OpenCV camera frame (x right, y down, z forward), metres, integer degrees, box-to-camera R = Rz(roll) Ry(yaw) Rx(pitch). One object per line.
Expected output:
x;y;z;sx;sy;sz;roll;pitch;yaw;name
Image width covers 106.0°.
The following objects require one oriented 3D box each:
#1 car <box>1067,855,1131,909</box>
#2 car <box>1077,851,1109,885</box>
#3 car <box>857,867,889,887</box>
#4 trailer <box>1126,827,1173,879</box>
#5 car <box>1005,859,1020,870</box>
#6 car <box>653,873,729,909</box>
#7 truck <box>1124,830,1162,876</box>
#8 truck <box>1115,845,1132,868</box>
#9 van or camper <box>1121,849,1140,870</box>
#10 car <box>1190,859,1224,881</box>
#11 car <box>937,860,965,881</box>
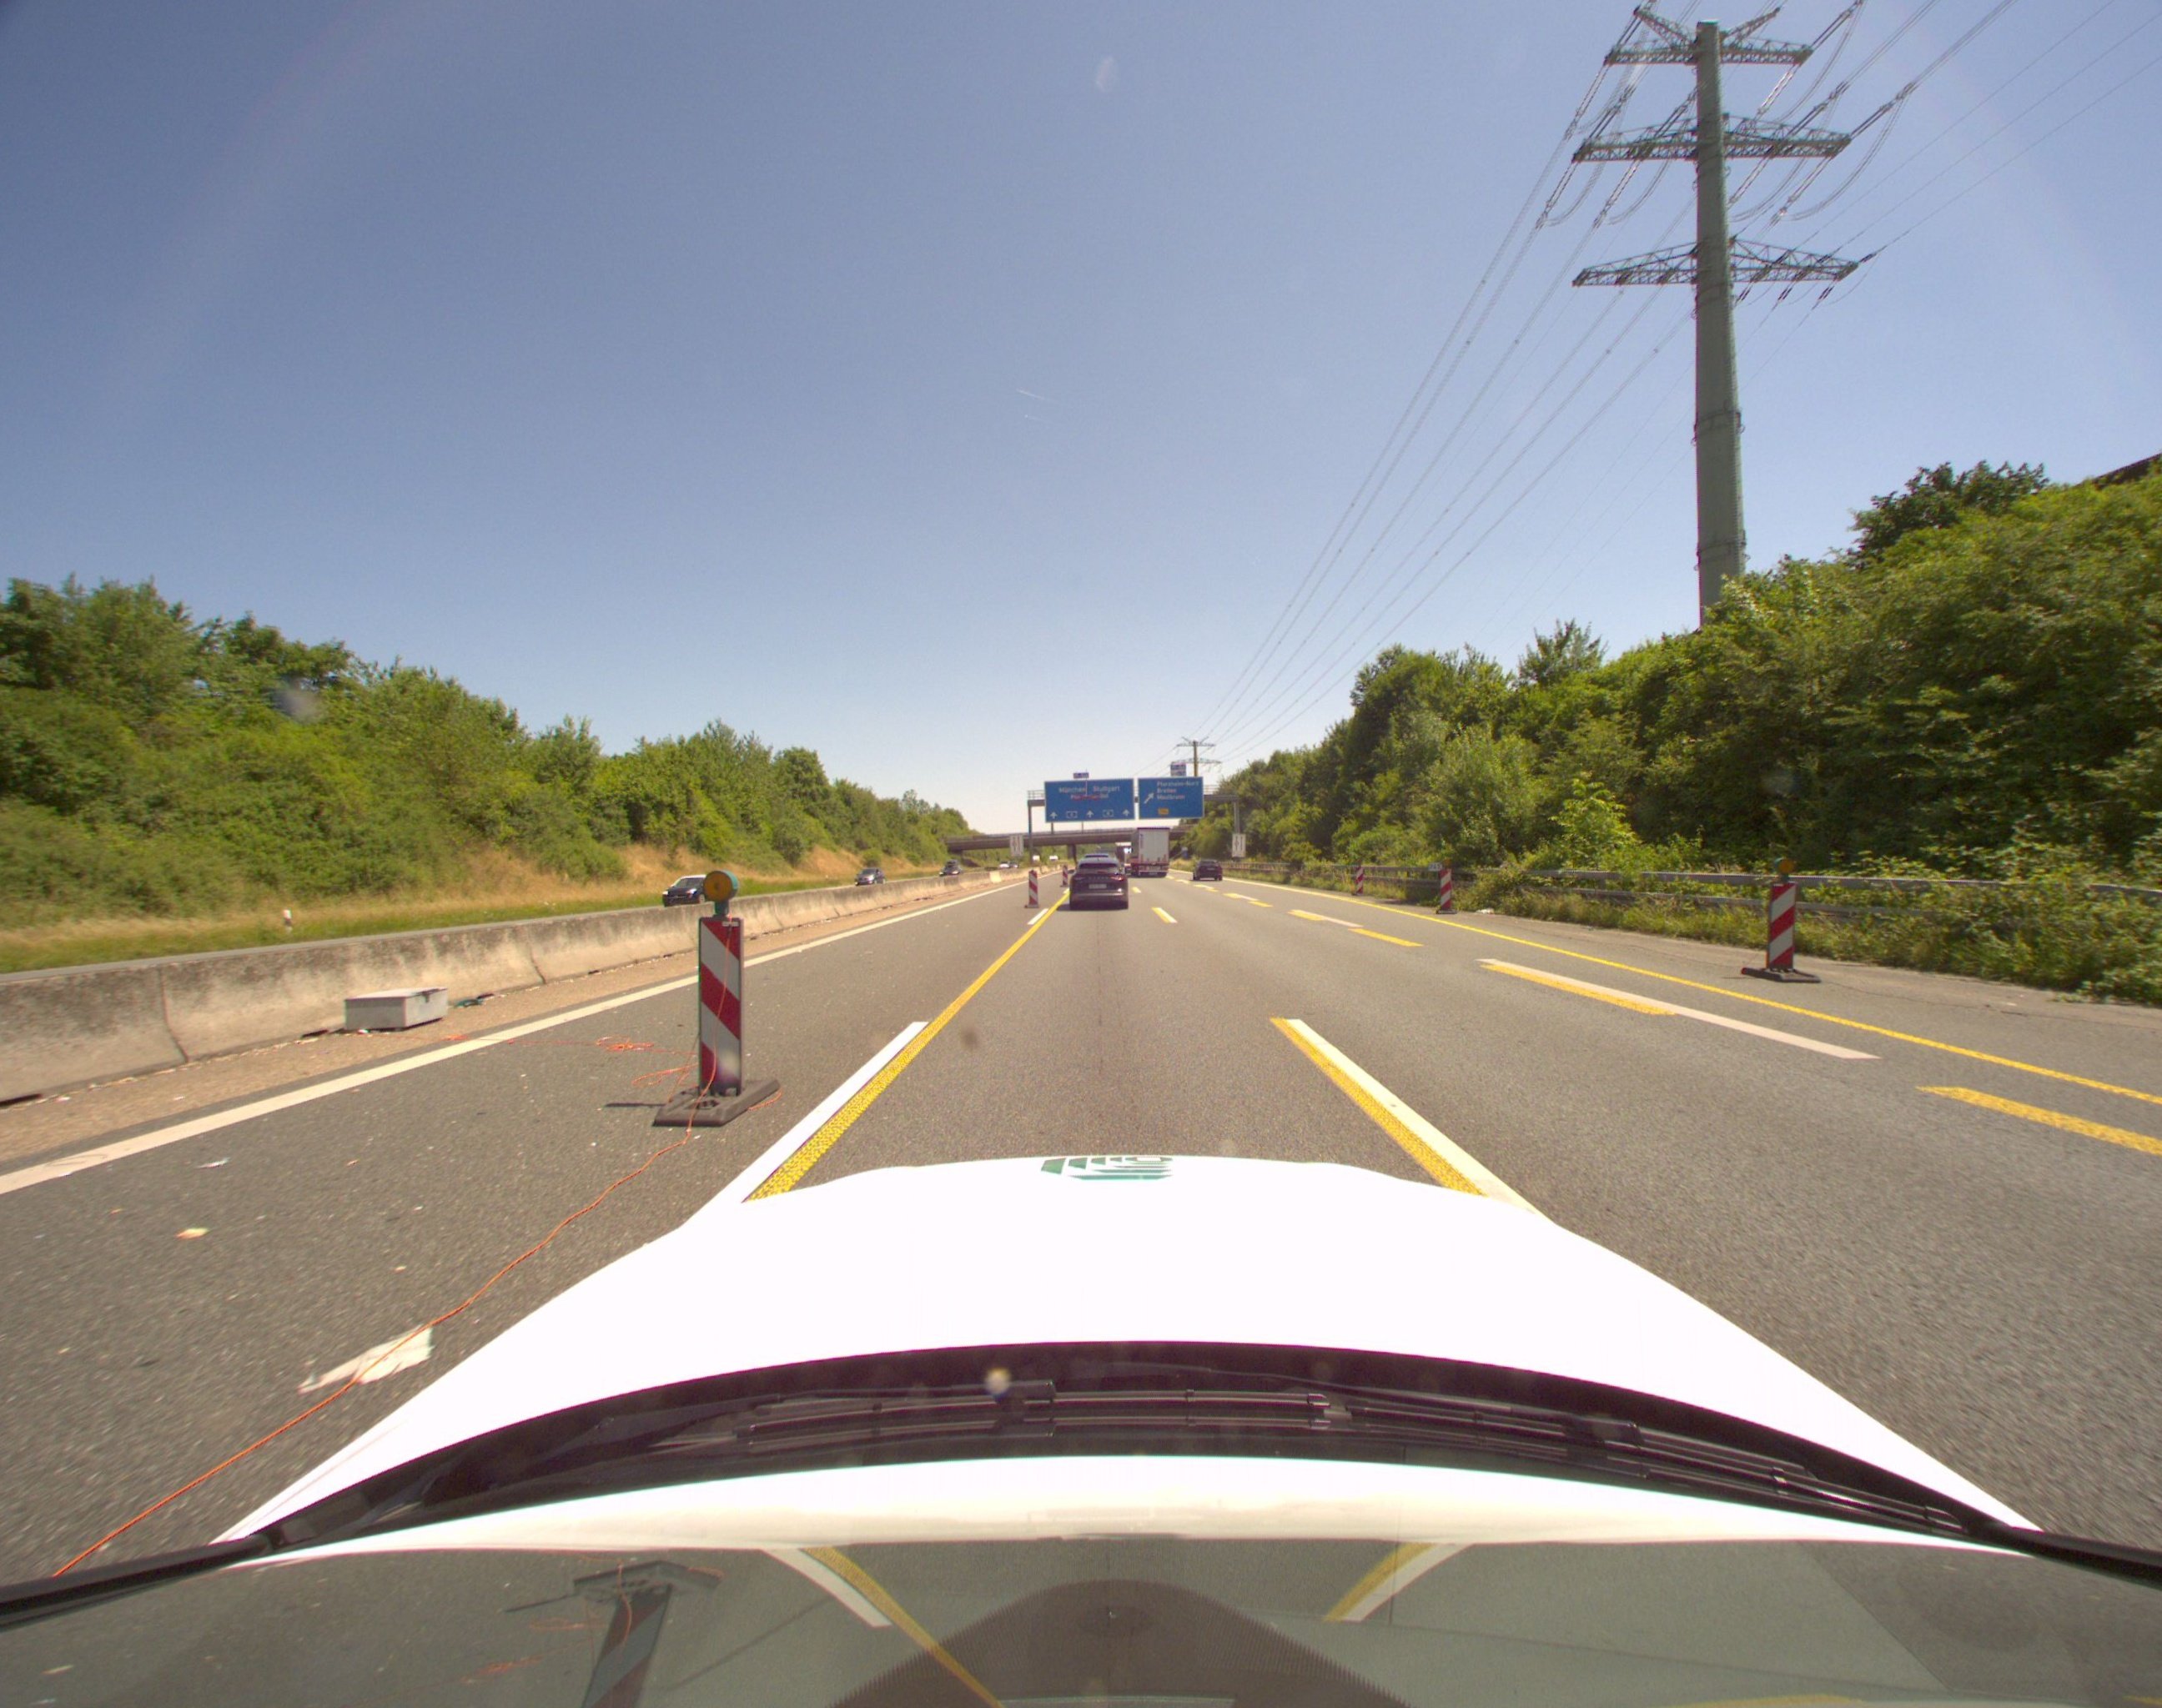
0.549;0.835;26.453;1.889;1.592;4.442;0;0;0;car
0.771;0.846;51.587;1.889;1.841;4.444;2;2;1;car
-17.390;1.902;68.155;1.494;1.548;4.002;-2;0;2;car
5.711;-0.057;70.214;3.055;4.042;11.485;-1;0;0;trailer
-11.598;1.794;138.048;1.906;1.753;4.566;0;0;1;car
-18.179;1.698;38.122;1.568;1.464;3.780;-2;0;2;car
5.778;-0.062;77.216;3.015;4.087;7.794;-1;0;0;truck
7.890;0.527;151.227;3.065;4.146;13.062;0;0;3;truck
6.938;0.762;115.311;2.576;2.968;6.088;0;0;3;van or camper
8.769;1.087;57.113;1.772;1.489;4.465;0;0;1;car
-11.916;1.477;74.996;1.736;1.818;4.621;-2;0;0;car
